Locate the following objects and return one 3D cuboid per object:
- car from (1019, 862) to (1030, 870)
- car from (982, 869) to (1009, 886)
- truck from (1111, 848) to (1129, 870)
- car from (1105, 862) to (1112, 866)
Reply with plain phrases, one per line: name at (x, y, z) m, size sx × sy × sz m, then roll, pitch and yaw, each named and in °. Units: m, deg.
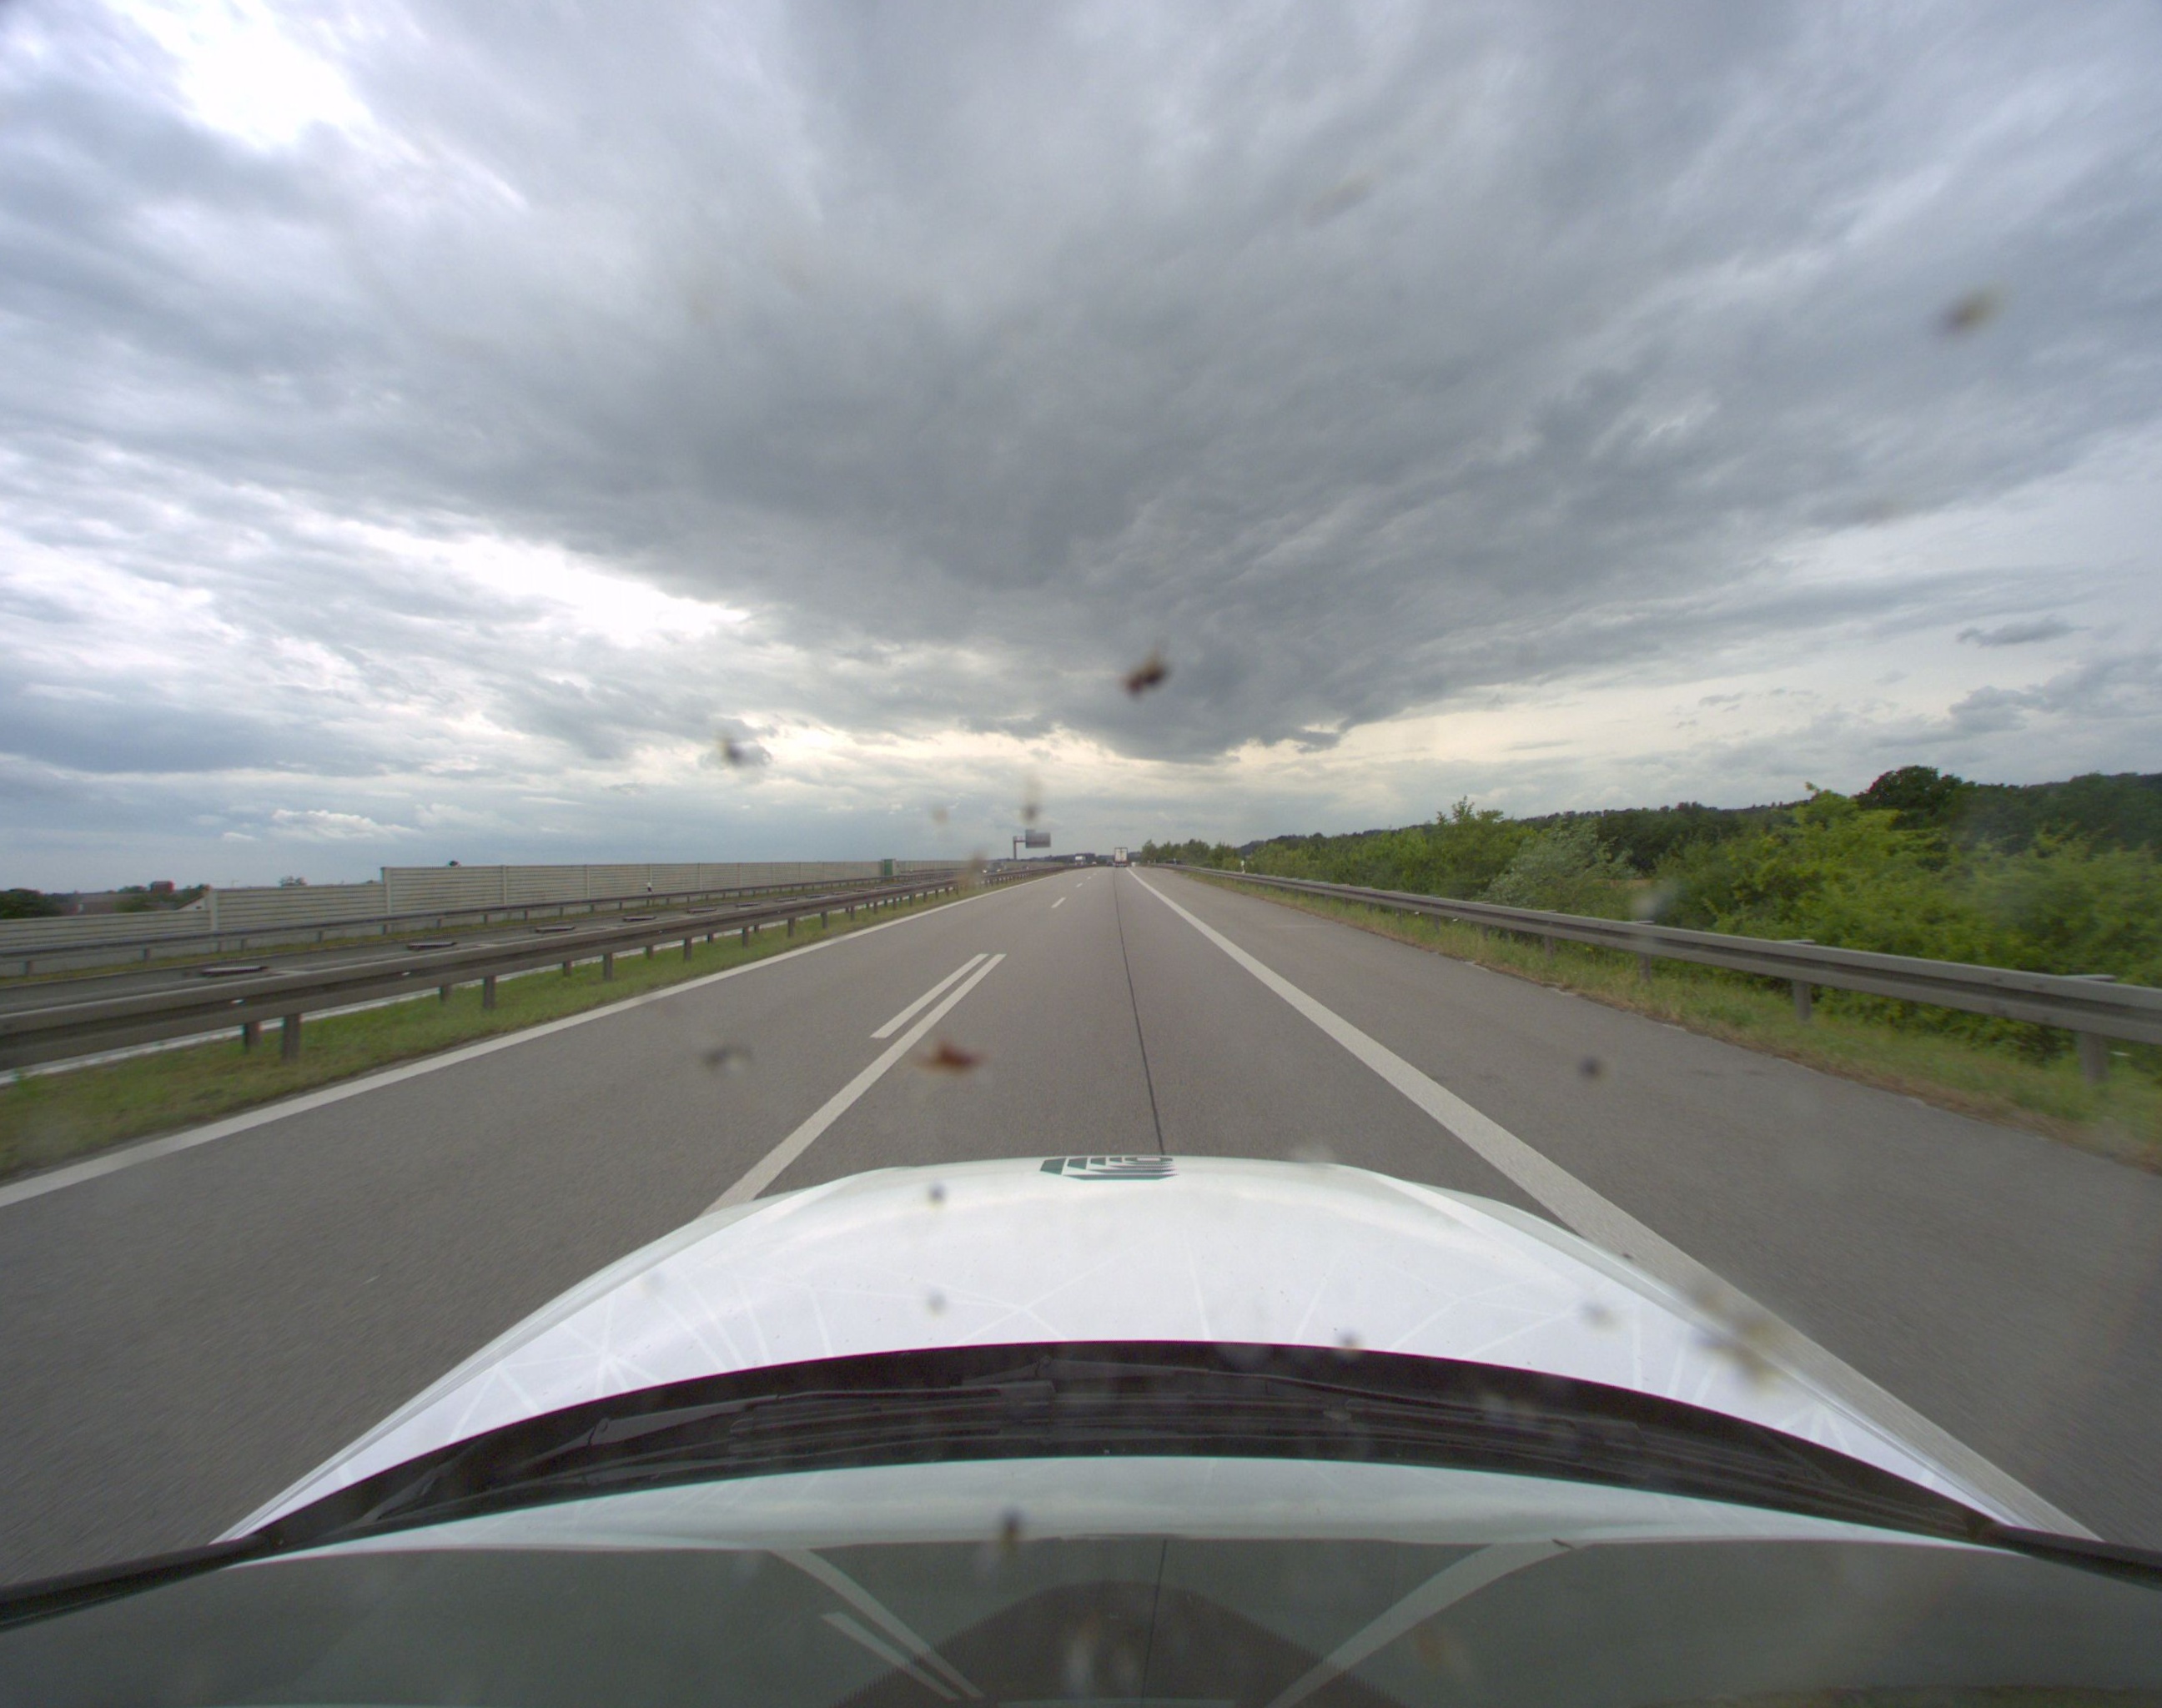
car at (-11.080, 2.318, 159.651) m, size 1.697 × 1.495 × 4.568 m, roll -3°, pitch -1°, yaw 2°
car at (-7.965, 2.205, 76.323) m, size 1.781 × 1.451 × 5.176 m, roll -1°, pitch 0°, yaw 2°
truck at (8.380, 1.145, 174.162) m, size 3.657 × 4.413 × 16.352 m, roll -2°, pitch -1°, yaw 3°
car at (8.402, 3.051, 249.586) m, size 1.987 × 1.420 × 4.000 m, roll 0°, pitch 0°, yaw 0°
